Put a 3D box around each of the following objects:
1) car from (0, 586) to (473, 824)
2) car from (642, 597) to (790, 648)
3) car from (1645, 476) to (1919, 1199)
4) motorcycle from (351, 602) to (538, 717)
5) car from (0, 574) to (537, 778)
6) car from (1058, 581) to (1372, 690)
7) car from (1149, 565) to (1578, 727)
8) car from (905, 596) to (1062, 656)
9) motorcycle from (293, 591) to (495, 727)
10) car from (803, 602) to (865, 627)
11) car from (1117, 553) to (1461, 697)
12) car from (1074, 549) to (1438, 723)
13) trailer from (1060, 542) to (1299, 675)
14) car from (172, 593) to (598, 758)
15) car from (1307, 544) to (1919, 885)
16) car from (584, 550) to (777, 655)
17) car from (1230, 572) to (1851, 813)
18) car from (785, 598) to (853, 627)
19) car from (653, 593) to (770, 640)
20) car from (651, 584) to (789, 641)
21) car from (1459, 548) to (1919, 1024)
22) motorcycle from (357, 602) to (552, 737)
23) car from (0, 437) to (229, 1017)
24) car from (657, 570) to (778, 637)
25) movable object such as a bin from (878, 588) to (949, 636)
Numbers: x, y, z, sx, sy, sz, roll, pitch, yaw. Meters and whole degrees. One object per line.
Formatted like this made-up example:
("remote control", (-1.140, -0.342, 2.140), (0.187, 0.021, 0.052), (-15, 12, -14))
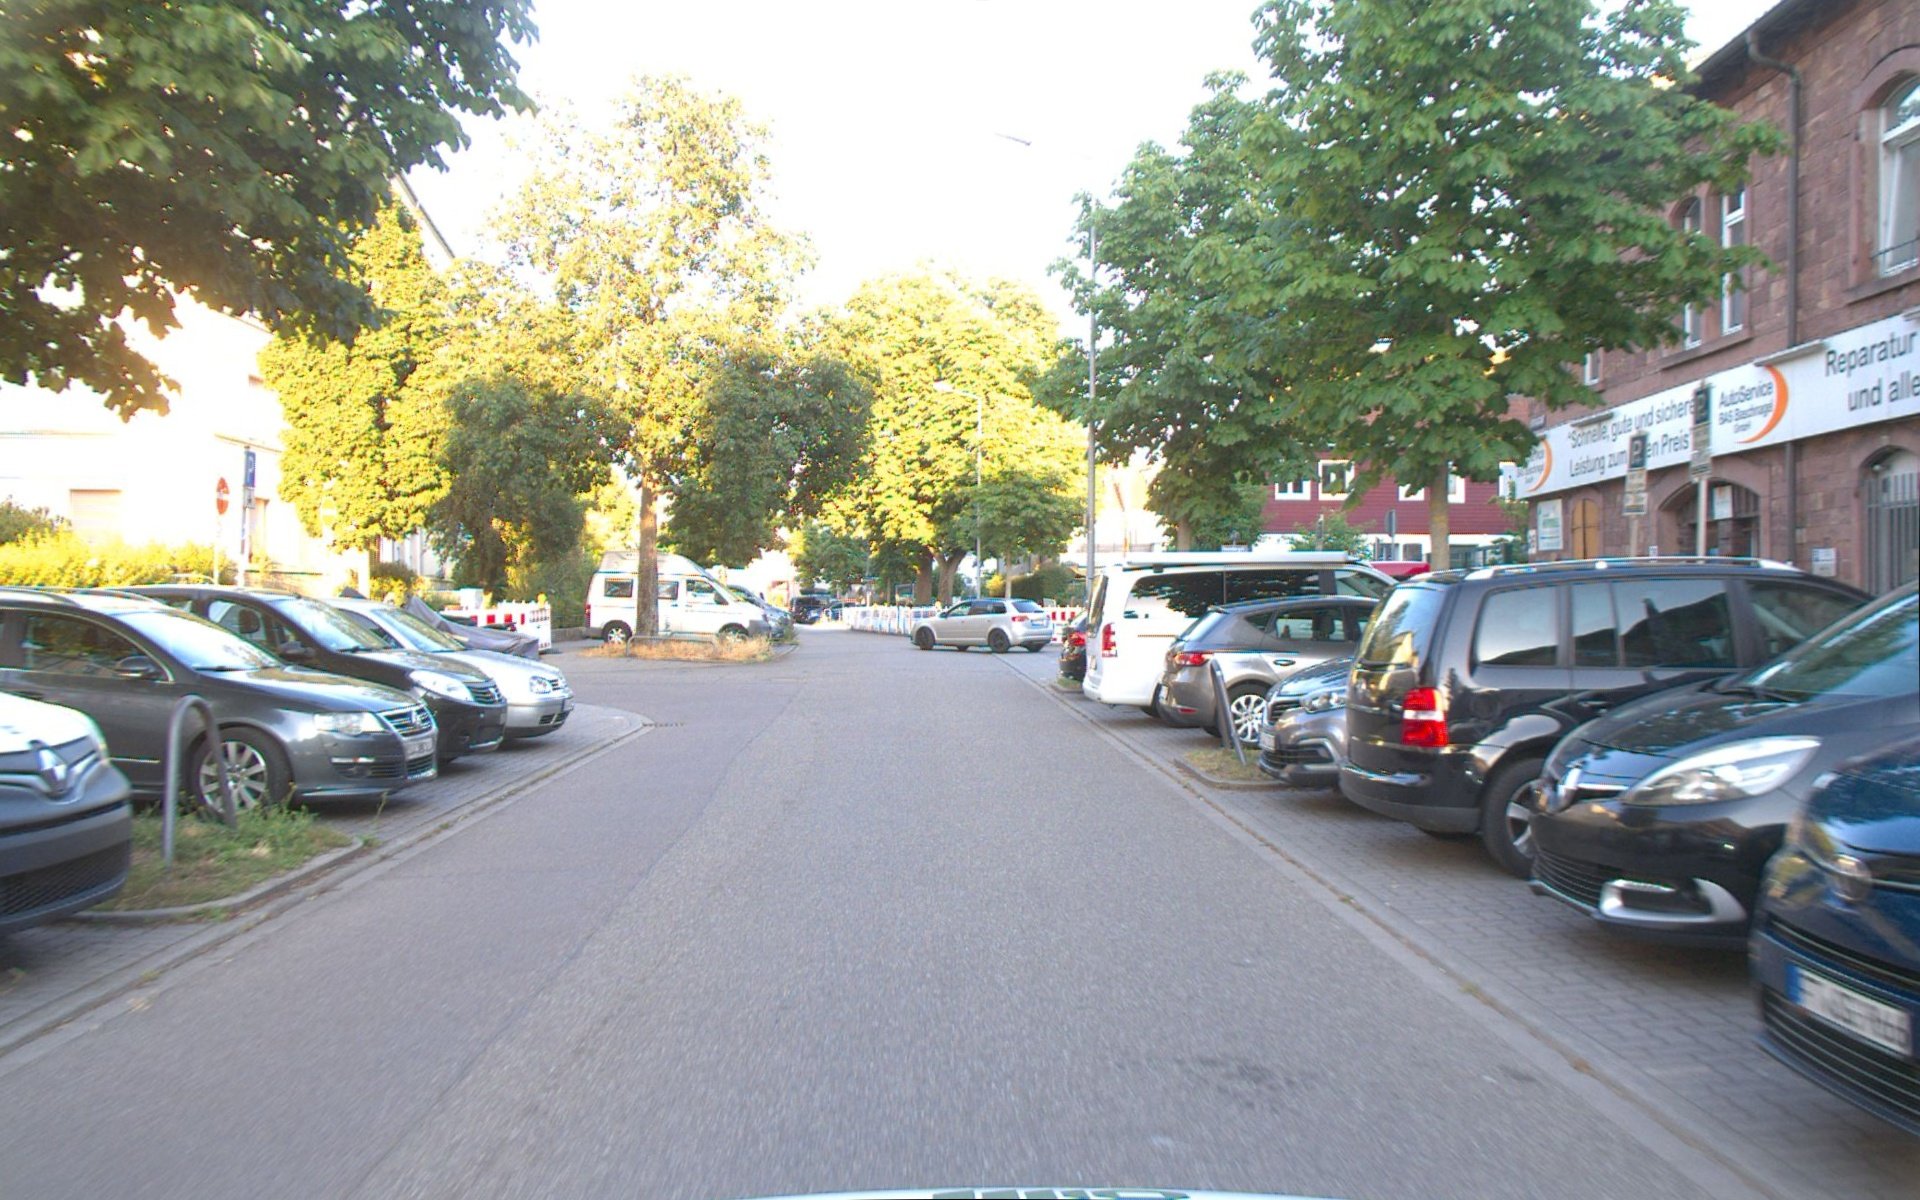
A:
("car", (-5.844, 0.657, 11.607), (4.237, 1.430, 1.851), (2, 0, 1))
("car", (-7.177, 0.652, 48.930), (4.159, 1.418, 1.683), (1, -1, -3))
("car", (4.541, 0.465, 4.225), (4.690, 1.784, 2.017), (-3, 1, -2))
("motorcycle", (-6.719, 0.768, 21.613), (2.184, 1.461, 0.774), (0, 0, 2))
("car", (-5.795, 0.611, 14.101), (3.905, 1.611, 1.729), (0, 0, 1))
("car", (3.677, 0.502, 24.347), (4.337, 1.525, 1.773), (0, 0, -2))
("car", (3.978, 0.443, 16.741), (3.906, 1.536, 1.776), (0, 0, -2))
("car", (0.608, 0.666, 44.442), (3.922, 1.514, 1.805), (1, 0, 38))
("motorcycle", (-6.919, 0.709, 20.279), (2.184, 1.610, 0.774), (0, 0, 2))
("car", (-8.627, 0.968, 113.400), (3.930, 1.680, 1.753), (0, 0, -22))
("car", (4.320, 0.329, 22.154), (4.214, 1.831, 1.904), (0, 0, -2))
("car", (3.393, 0.410, 19.520), (3.906, 1.937, 1.999), (0, 0, -2))
("trailer", (3.781, 0.143, 29.003), (3.906, 2.226, 1.999), (0, 0, -2))
("car", (-5.627, 0.716, 16.499), (3.637, 1.532, 1.690), (0, 0, 1))
("car", (4.221, 0.571, 9.647), (3.907, 1.647, 1.894), (-3, 0, -2))
("car", (-7.169, 0.068, 42.776), (4.635, 2.614, 2.000), (0, 0, -1))
("car", (4.076, 0.623, 12.009), (3.868, 1.593, 1.819), (0, 0, -5))
("car", (-10.056, 0.882, 118.189), (4.488, 2.058, 2.089), (0, 0, -19))
("car", (-8.115, 0.551, 54.198), (3.697, 1.464, 1.653), (1, 0, -7))
("car", (-8.217, 0.428, 56.772), (4.586, 1.906, 1.996), (0, 0, -9))
("car", (4.602, 0.570, 6.969), (4.326, 1.602, 1.981), (-3, 1, -2))
("motorcycle", (-5.572, 0.758, 18.321), (1.947, 1.461, 0.721), (0, 0, -6))
("car", (-5.628, 0.341, 6.623), (4.419, 2.106, 2.001), (3, 1, 2))
("car", (-9.050, 0.136, 61.877), (4.418, 2.473, 1.996), (0, 0, -9))
("movable object such as a bin", (-2.504, 0.612, 87.295), (2.585, 2.445, 5.175), (0, 0, -15))
